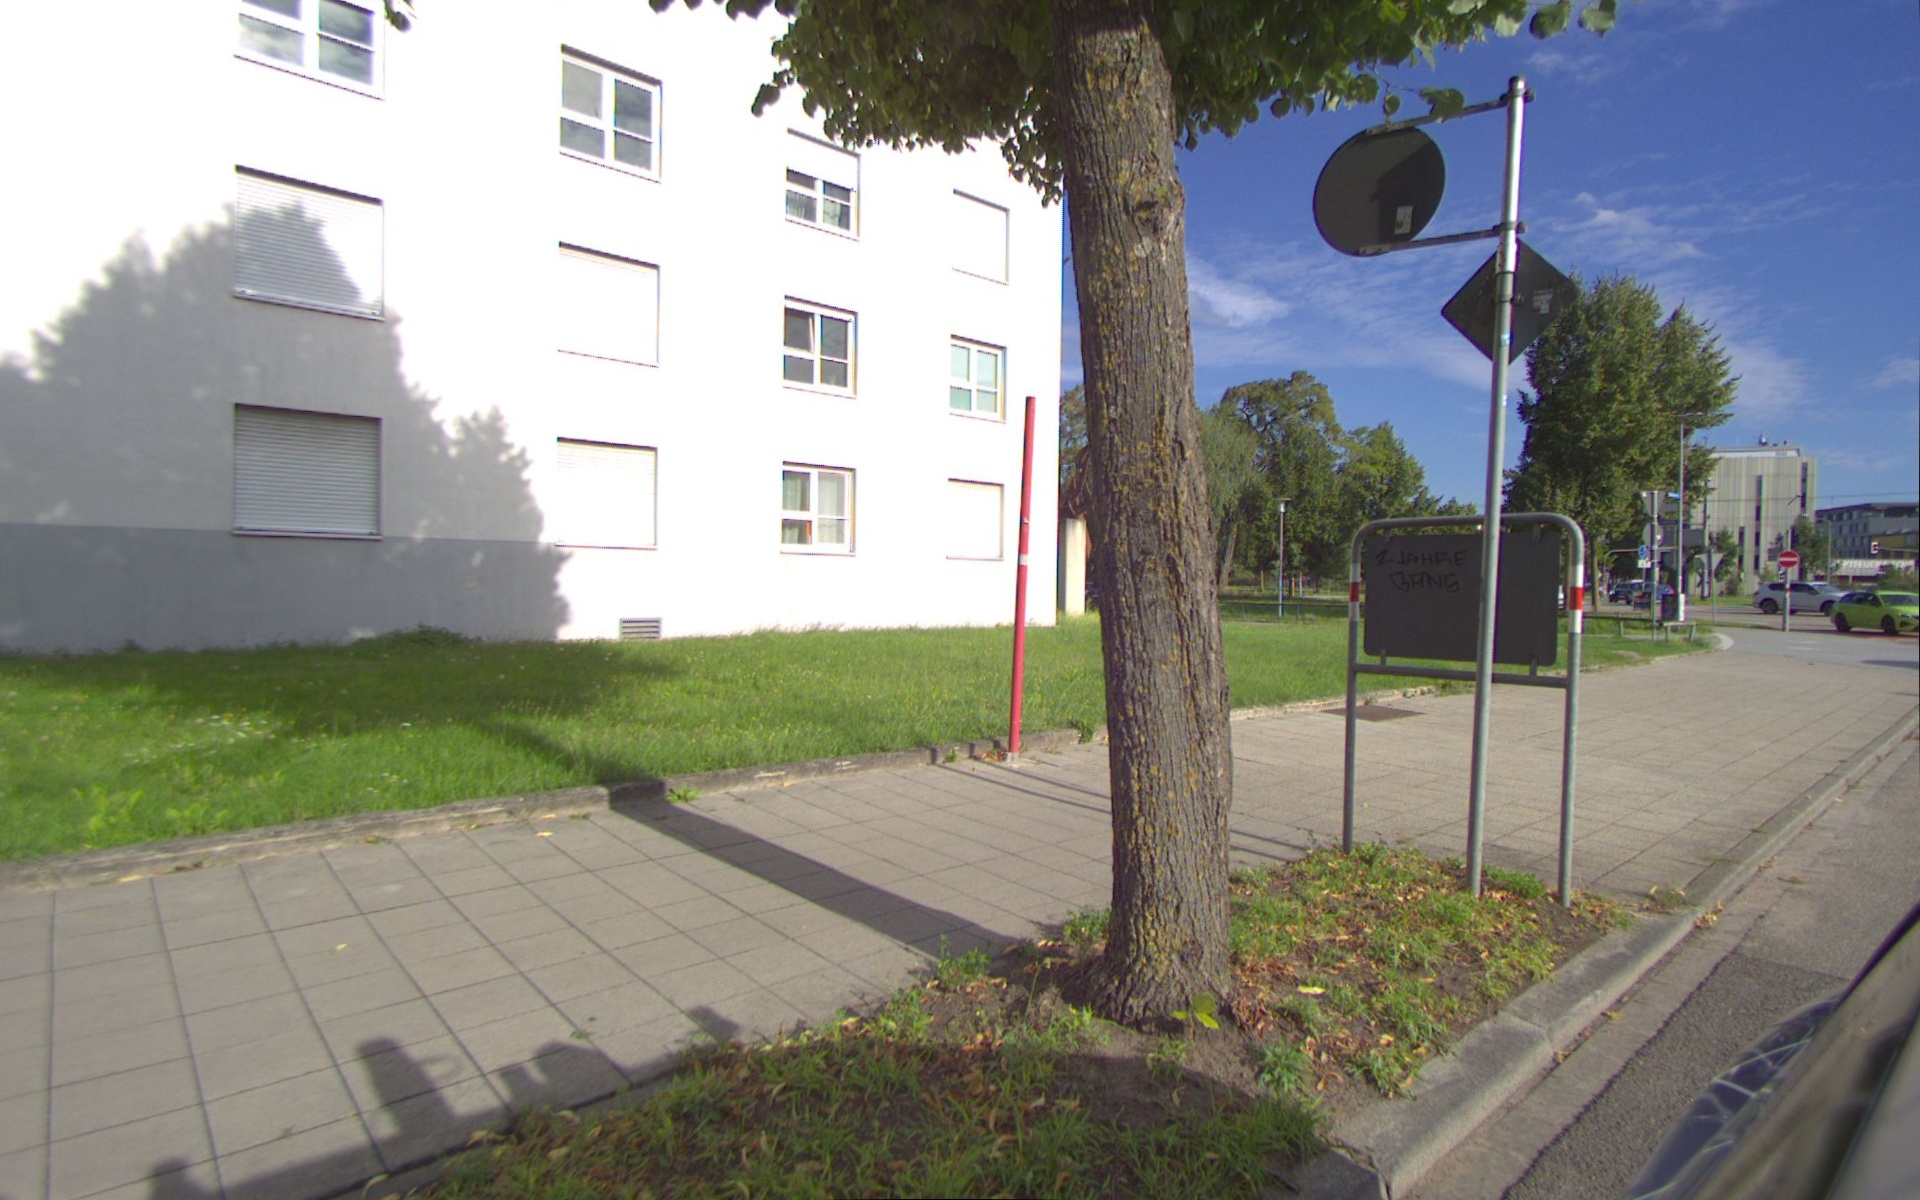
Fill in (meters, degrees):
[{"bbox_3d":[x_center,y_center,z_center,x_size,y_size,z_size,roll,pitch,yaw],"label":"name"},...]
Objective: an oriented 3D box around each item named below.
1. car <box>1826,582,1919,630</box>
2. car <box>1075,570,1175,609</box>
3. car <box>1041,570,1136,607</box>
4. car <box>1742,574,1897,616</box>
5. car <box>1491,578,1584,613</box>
[{"bbox_3d":[32.004,0.147,34.347,2.017,1.487,5.949,0,1,20],"label":"car"},{"bbox_3d":[8.171,-0.565,49.822,4.823,1.822,2.271,-1,1,-39],"label":"car"},{"bbox_3d":[6.656,-0.627,52.236,4.704,1.822,2.272,-1,1,-38],"label":"car"},{"bbox_3d":[40.900,-0.283,48.450,2.433,1.890,6.246,0,1,4],"label":"car"},{"bbox_3d":[31.914,-0.295,56.149,1.803,1.890,5.409,0,1,-4],"label":"car"}]
